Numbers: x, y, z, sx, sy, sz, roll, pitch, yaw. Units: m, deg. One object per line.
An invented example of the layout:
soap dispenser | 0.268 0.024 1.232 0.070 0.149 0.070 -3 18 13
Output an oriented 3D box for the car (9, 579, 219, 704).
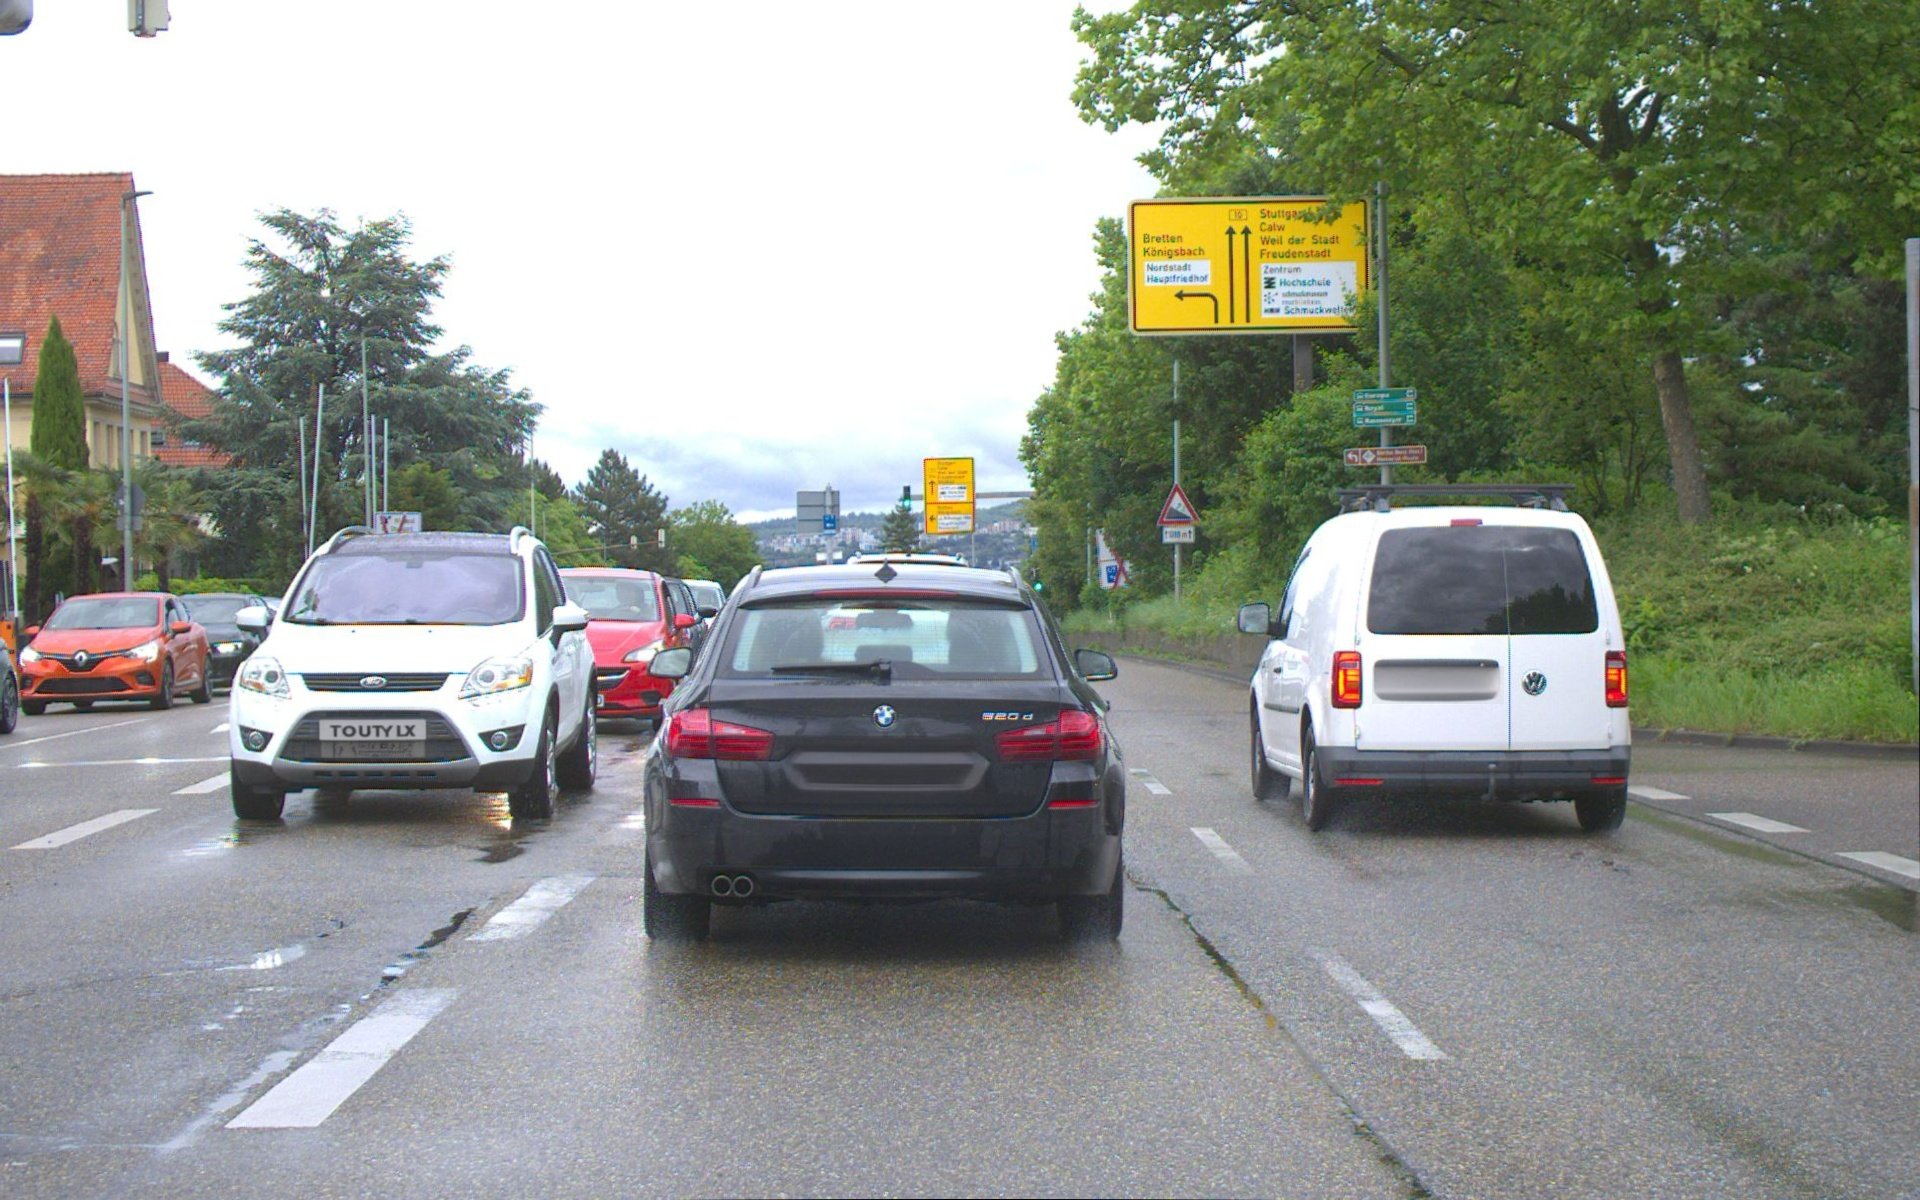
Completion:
car | -10.181 0.471 41.616 1.622 1.327 3.947 -2 1 -1

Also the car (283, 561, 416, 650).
car | -11.103 0.075 62.768 1.770 1.563 4.000 0 1 -1

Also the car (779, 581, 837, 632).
car | -5.245 0.216 119.170 1.868 1.668 4.000 0 1 0

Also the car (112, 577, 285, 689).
car | -10.701 0.428 48.562 1.601 1.395 4.406 -3 1 -3

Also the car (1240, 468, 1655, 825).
car | 2.713 0.196 19.946 1.764 1.871 3.806 0 1 -1

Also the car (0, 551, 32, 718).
car | -10.207 0.389 32.724 1.676 1.612 4.000 -2 1 -1

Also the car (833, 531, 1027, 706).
car | -0.306 0.139 35.317 1.868 1.668 4.000 0 1 0

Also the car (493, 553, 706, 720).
car | -3.283 0.327 31.928 1.632 1.429 4.144 -1 0 -1

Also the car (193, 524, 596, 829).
car | -3.314 0.375 20.917 1.839 1.644 4.298 -1 1 -2

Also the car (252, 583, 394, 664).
car | -10.192 0.357 55.255 1.622 1.145 3.856 -2 1 -1

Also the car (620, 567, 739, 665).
car | -4.282 0.240 52.883 1.601 1.436 3.949 0 0 -2

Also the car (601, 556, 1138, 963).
car | -0.338 0.553 14.207 1.899 1.437 4.000 0 0 0

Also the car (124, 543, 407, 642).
car | -10.911 -0.112 54.091 4.033 1.472 1.641 -1 0 13
